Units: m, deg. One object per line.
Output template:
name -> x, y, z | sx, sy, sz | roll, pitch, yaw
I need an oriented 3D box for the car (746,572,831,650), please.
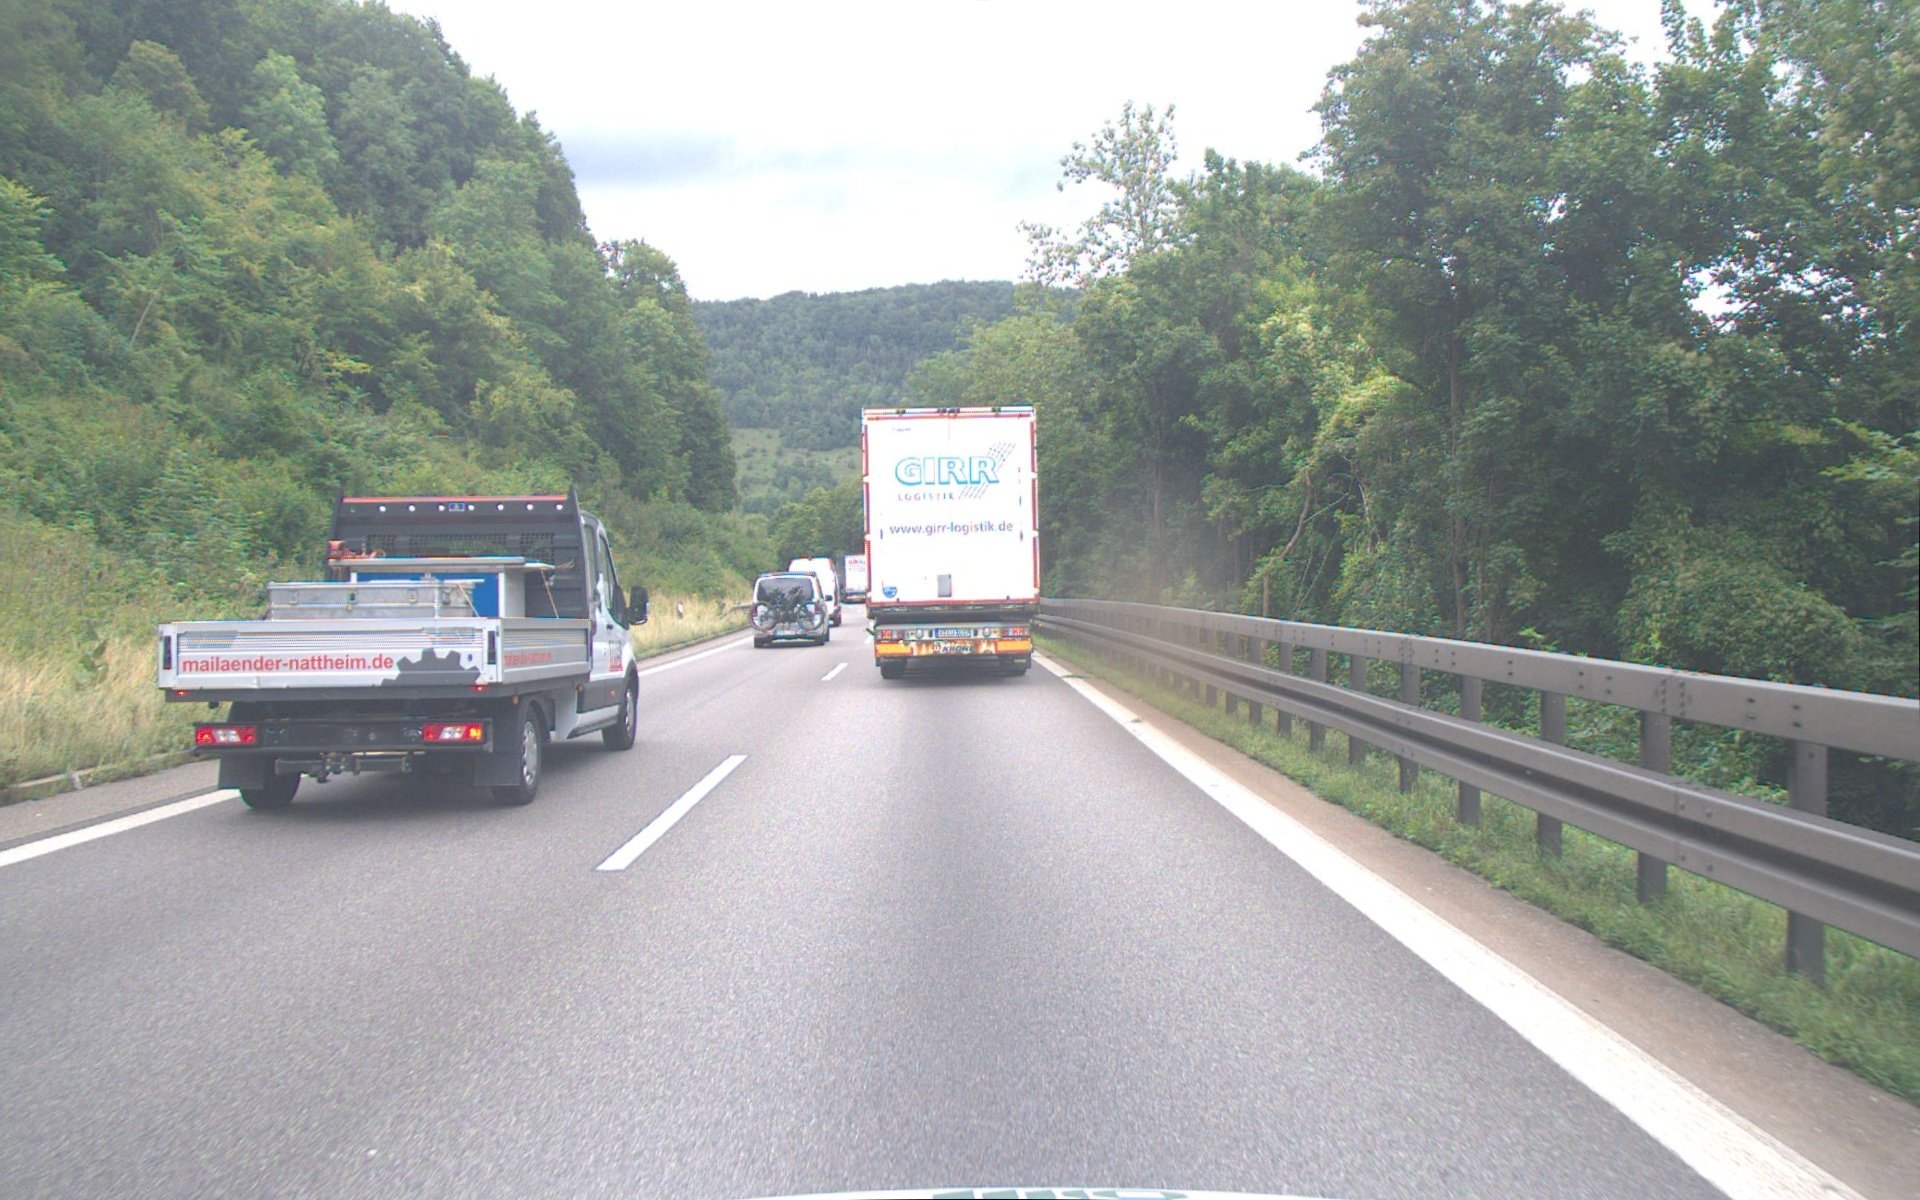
car -> -4.580, 0.249, 44.781 | 1.978, 1.947, 5.560 | -1, 1, -3

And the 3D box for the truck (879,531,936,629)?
truck -> -2.278, -0.798, 69.604 | 2.189, 3.870, 6.818 | -1, 0, -3

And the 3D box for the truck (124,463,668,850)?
truck -> -4.029, 0.306, 13.505 | 2.302, 2.313, 6.846 | -1, 1, -2

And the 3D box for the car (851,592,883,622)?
car -> -6.627, 0.497, 117.519 | 1.955, 2.049, 3.994 | -1, 0, -7

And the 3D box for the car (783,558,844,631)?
car -> -5.692, -0.238, 64.859 | 2.081, 2.643, 5.560 | -2, 1, -3

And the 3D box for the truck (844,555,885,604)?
truck -> -8.055, -1.649, 138.734 | 3.010, 3.945, 8.447 | -1, 0, -6

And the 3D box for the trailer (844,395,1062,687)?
trailer -> -0.134, -0.896, 28.144 | 3.069, 4.113, 9.439 | 0, 1, 0
